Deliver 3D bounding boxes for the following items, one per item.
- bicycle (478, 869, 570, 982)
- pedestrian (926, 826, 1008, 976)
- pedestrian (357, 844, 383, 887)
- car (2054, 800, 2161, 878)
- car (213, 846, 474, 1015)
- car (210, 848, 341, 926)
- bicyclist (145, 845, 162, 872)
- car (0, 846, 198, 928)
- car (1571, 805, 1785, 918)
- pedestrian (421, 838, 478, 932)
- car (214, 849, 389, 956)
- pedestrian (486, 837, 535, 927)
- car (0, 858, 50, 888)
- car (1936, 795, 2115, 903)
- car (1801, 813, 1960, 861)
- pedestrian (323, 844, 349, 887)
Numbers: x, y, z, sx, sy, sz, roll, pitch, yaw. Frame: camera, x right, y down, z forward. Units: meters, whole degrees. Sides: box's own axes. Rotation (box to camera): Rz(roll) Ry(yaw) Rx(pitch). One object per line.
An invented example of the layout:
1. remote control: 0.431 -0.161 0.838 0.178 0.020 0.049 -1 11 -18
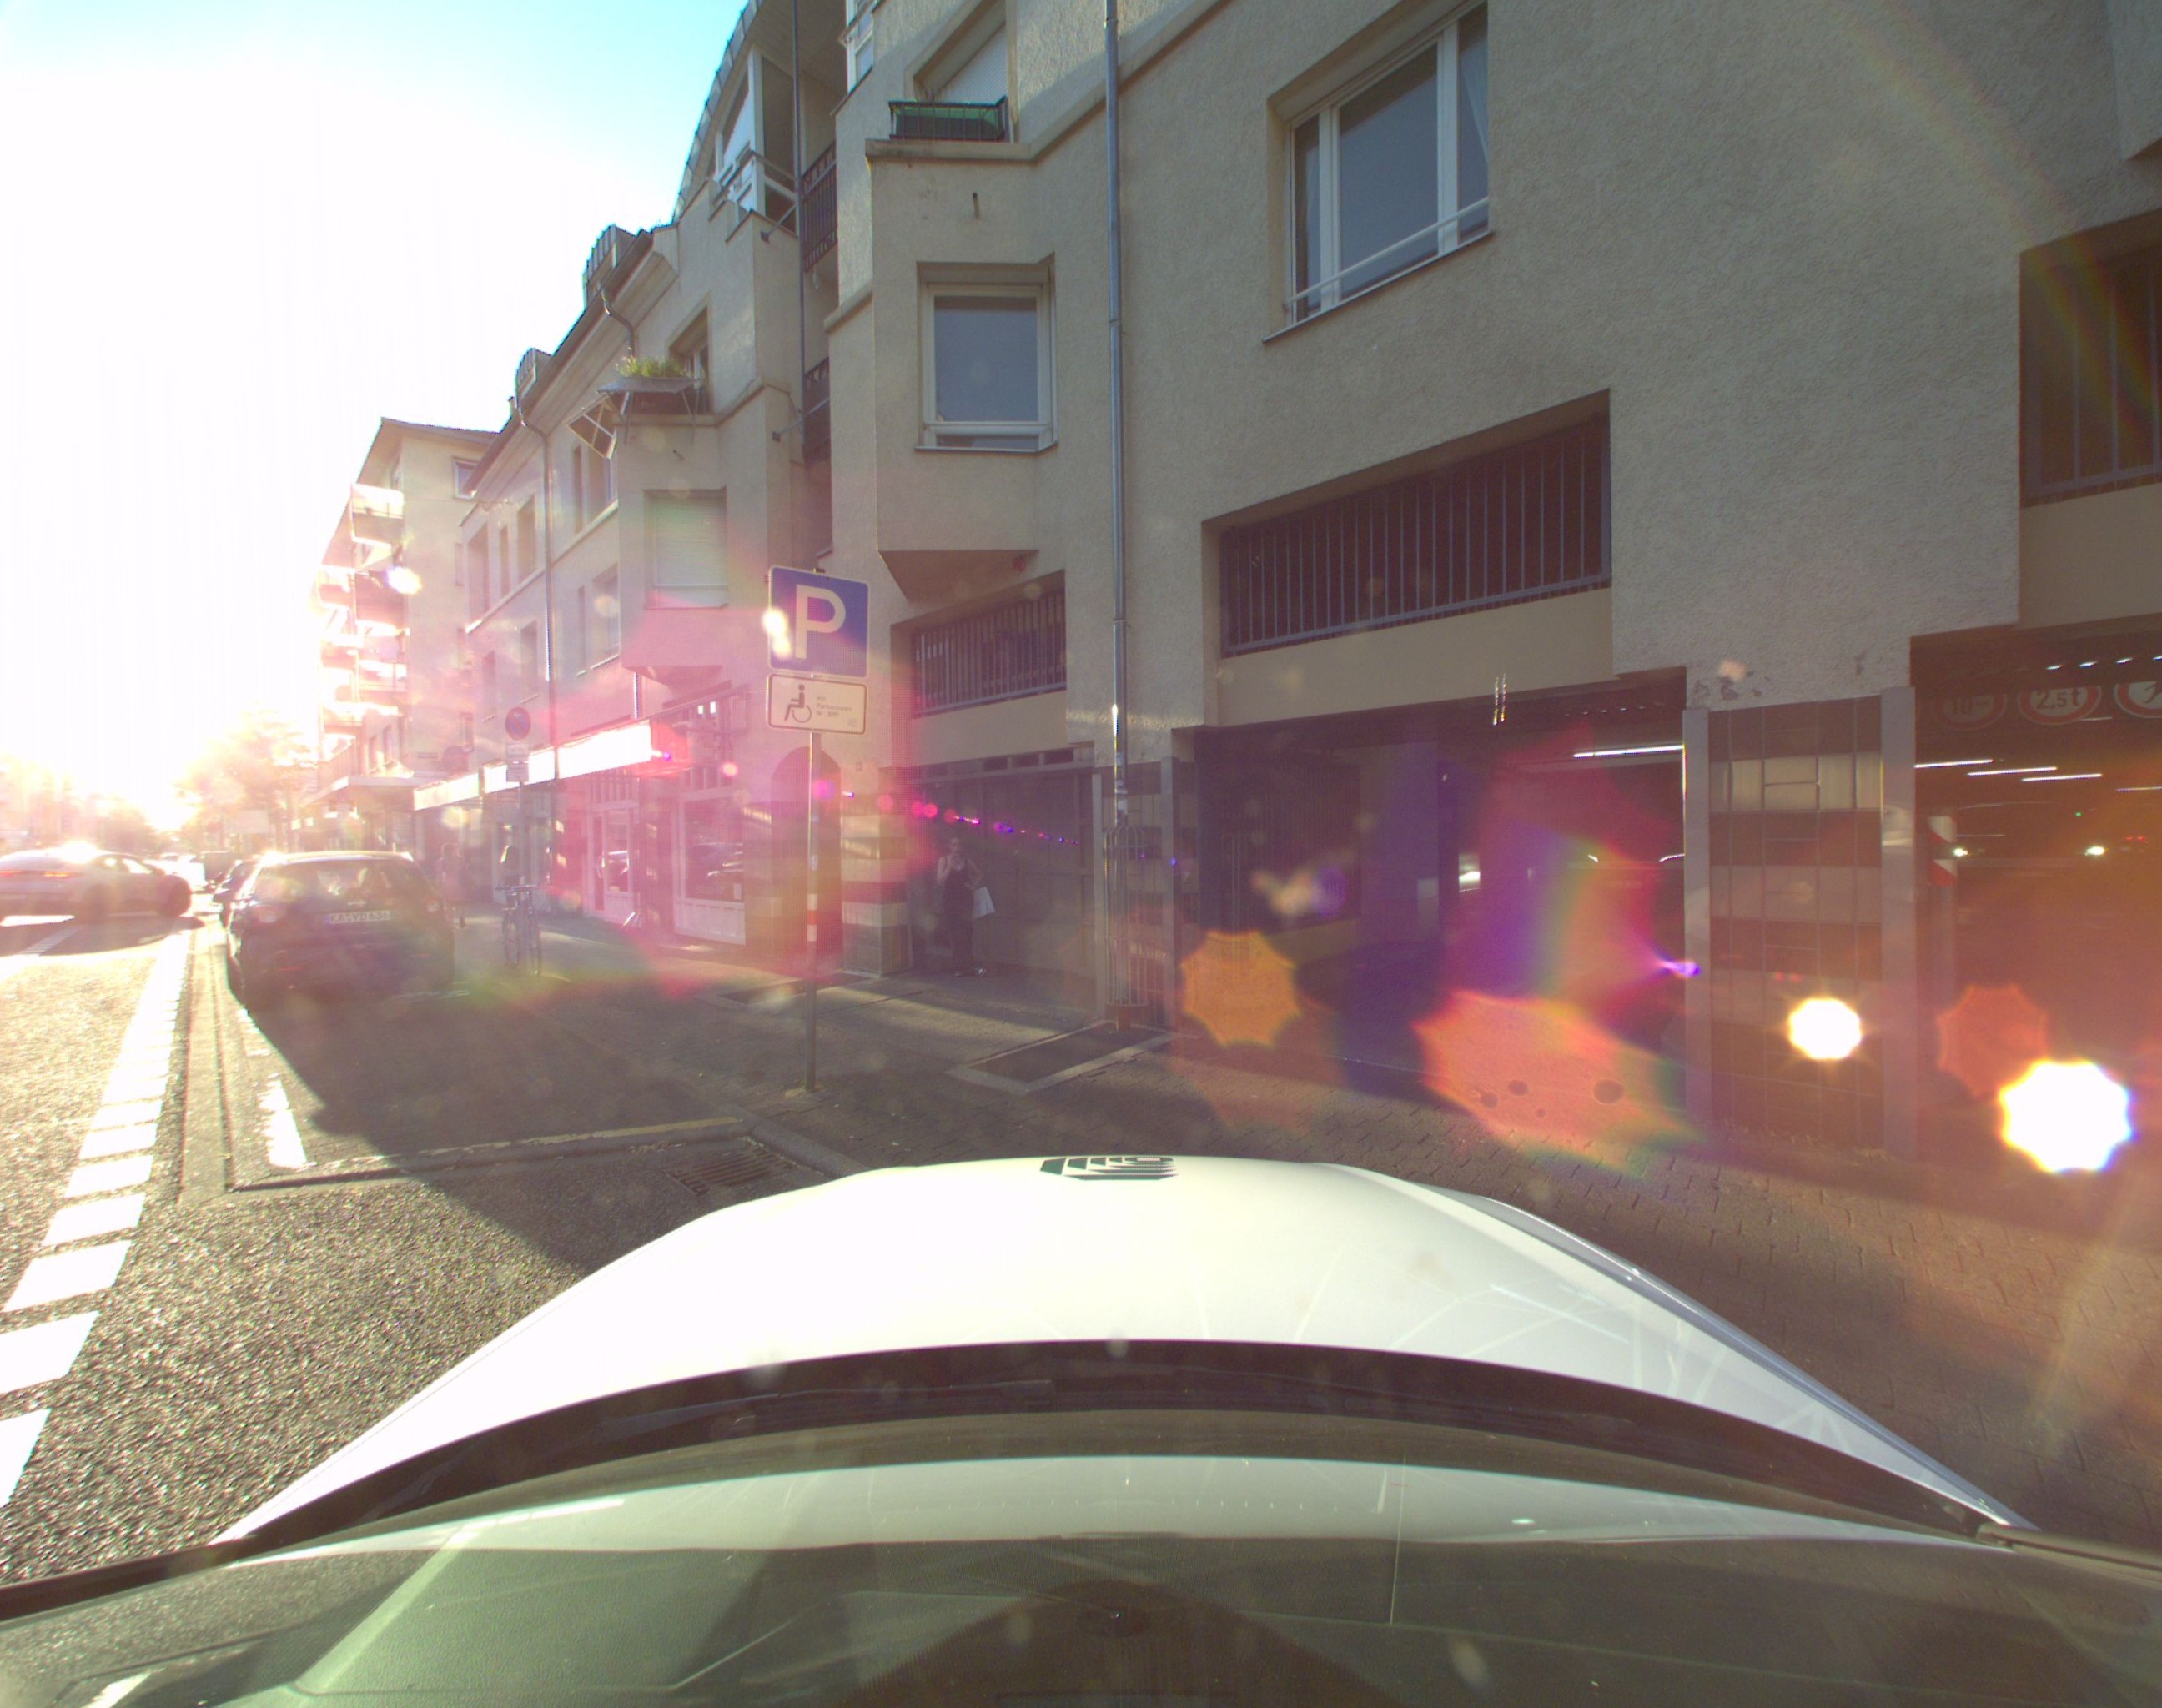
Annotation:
1. bicycle: -6.870 0.820 10.007 0.563 1.206 1.953 -2 1 -45
2. pedestrian: -1.263 0.491 8.964 0.778 1.572 0.530 -1 1 -20
3. pedestrian: -30.553 0.480 34.985 0.658 1.791 0.725 0 2 43
4. car: 24.036 -0.393 18.602 1.540 1.617 3.906 -1 2 38
5. car: -8.880 0.714 9.706 3.916 1.580 1.806 0 1 41
6. car: -18.468 0.670 18.630 3.739 1.580 1.806 0 1 41
7. bicyclist: -56.196 0.263 49.346 0.552 1.580 0.793 -2 1 -44
8. car: -22.985 0.681 18.814 1.881 1.697 4.288 0 0 -23
9. car: 9.970 0.029 13.479 4.272 1.572 1.798 -3 1 -39
10. pedestrian: -11.915 0.559 15.357 1.027 1.700 0.636 0 1 42
11. car: -13.575 0.718 14.118 3.739 1.580 1.806 0 1 41
12. pedestrian: -11.144 0.534 15.906 0.821 1.700 0.565 0 1 42
13. car: -51.681 0.886 39.779 3.611 1.412 1.645 0 0 38
14. car: 16.641 -0.146 14.404 4.323 1.624 1.869 -2 2 -40
15. car: 25.547 -0.576 26.217 1.595 1.391 3.889 -2 2 6
16. pedestrian: -31.880 0.477 34.867 0.658 1.791 0.725 0 2 43
